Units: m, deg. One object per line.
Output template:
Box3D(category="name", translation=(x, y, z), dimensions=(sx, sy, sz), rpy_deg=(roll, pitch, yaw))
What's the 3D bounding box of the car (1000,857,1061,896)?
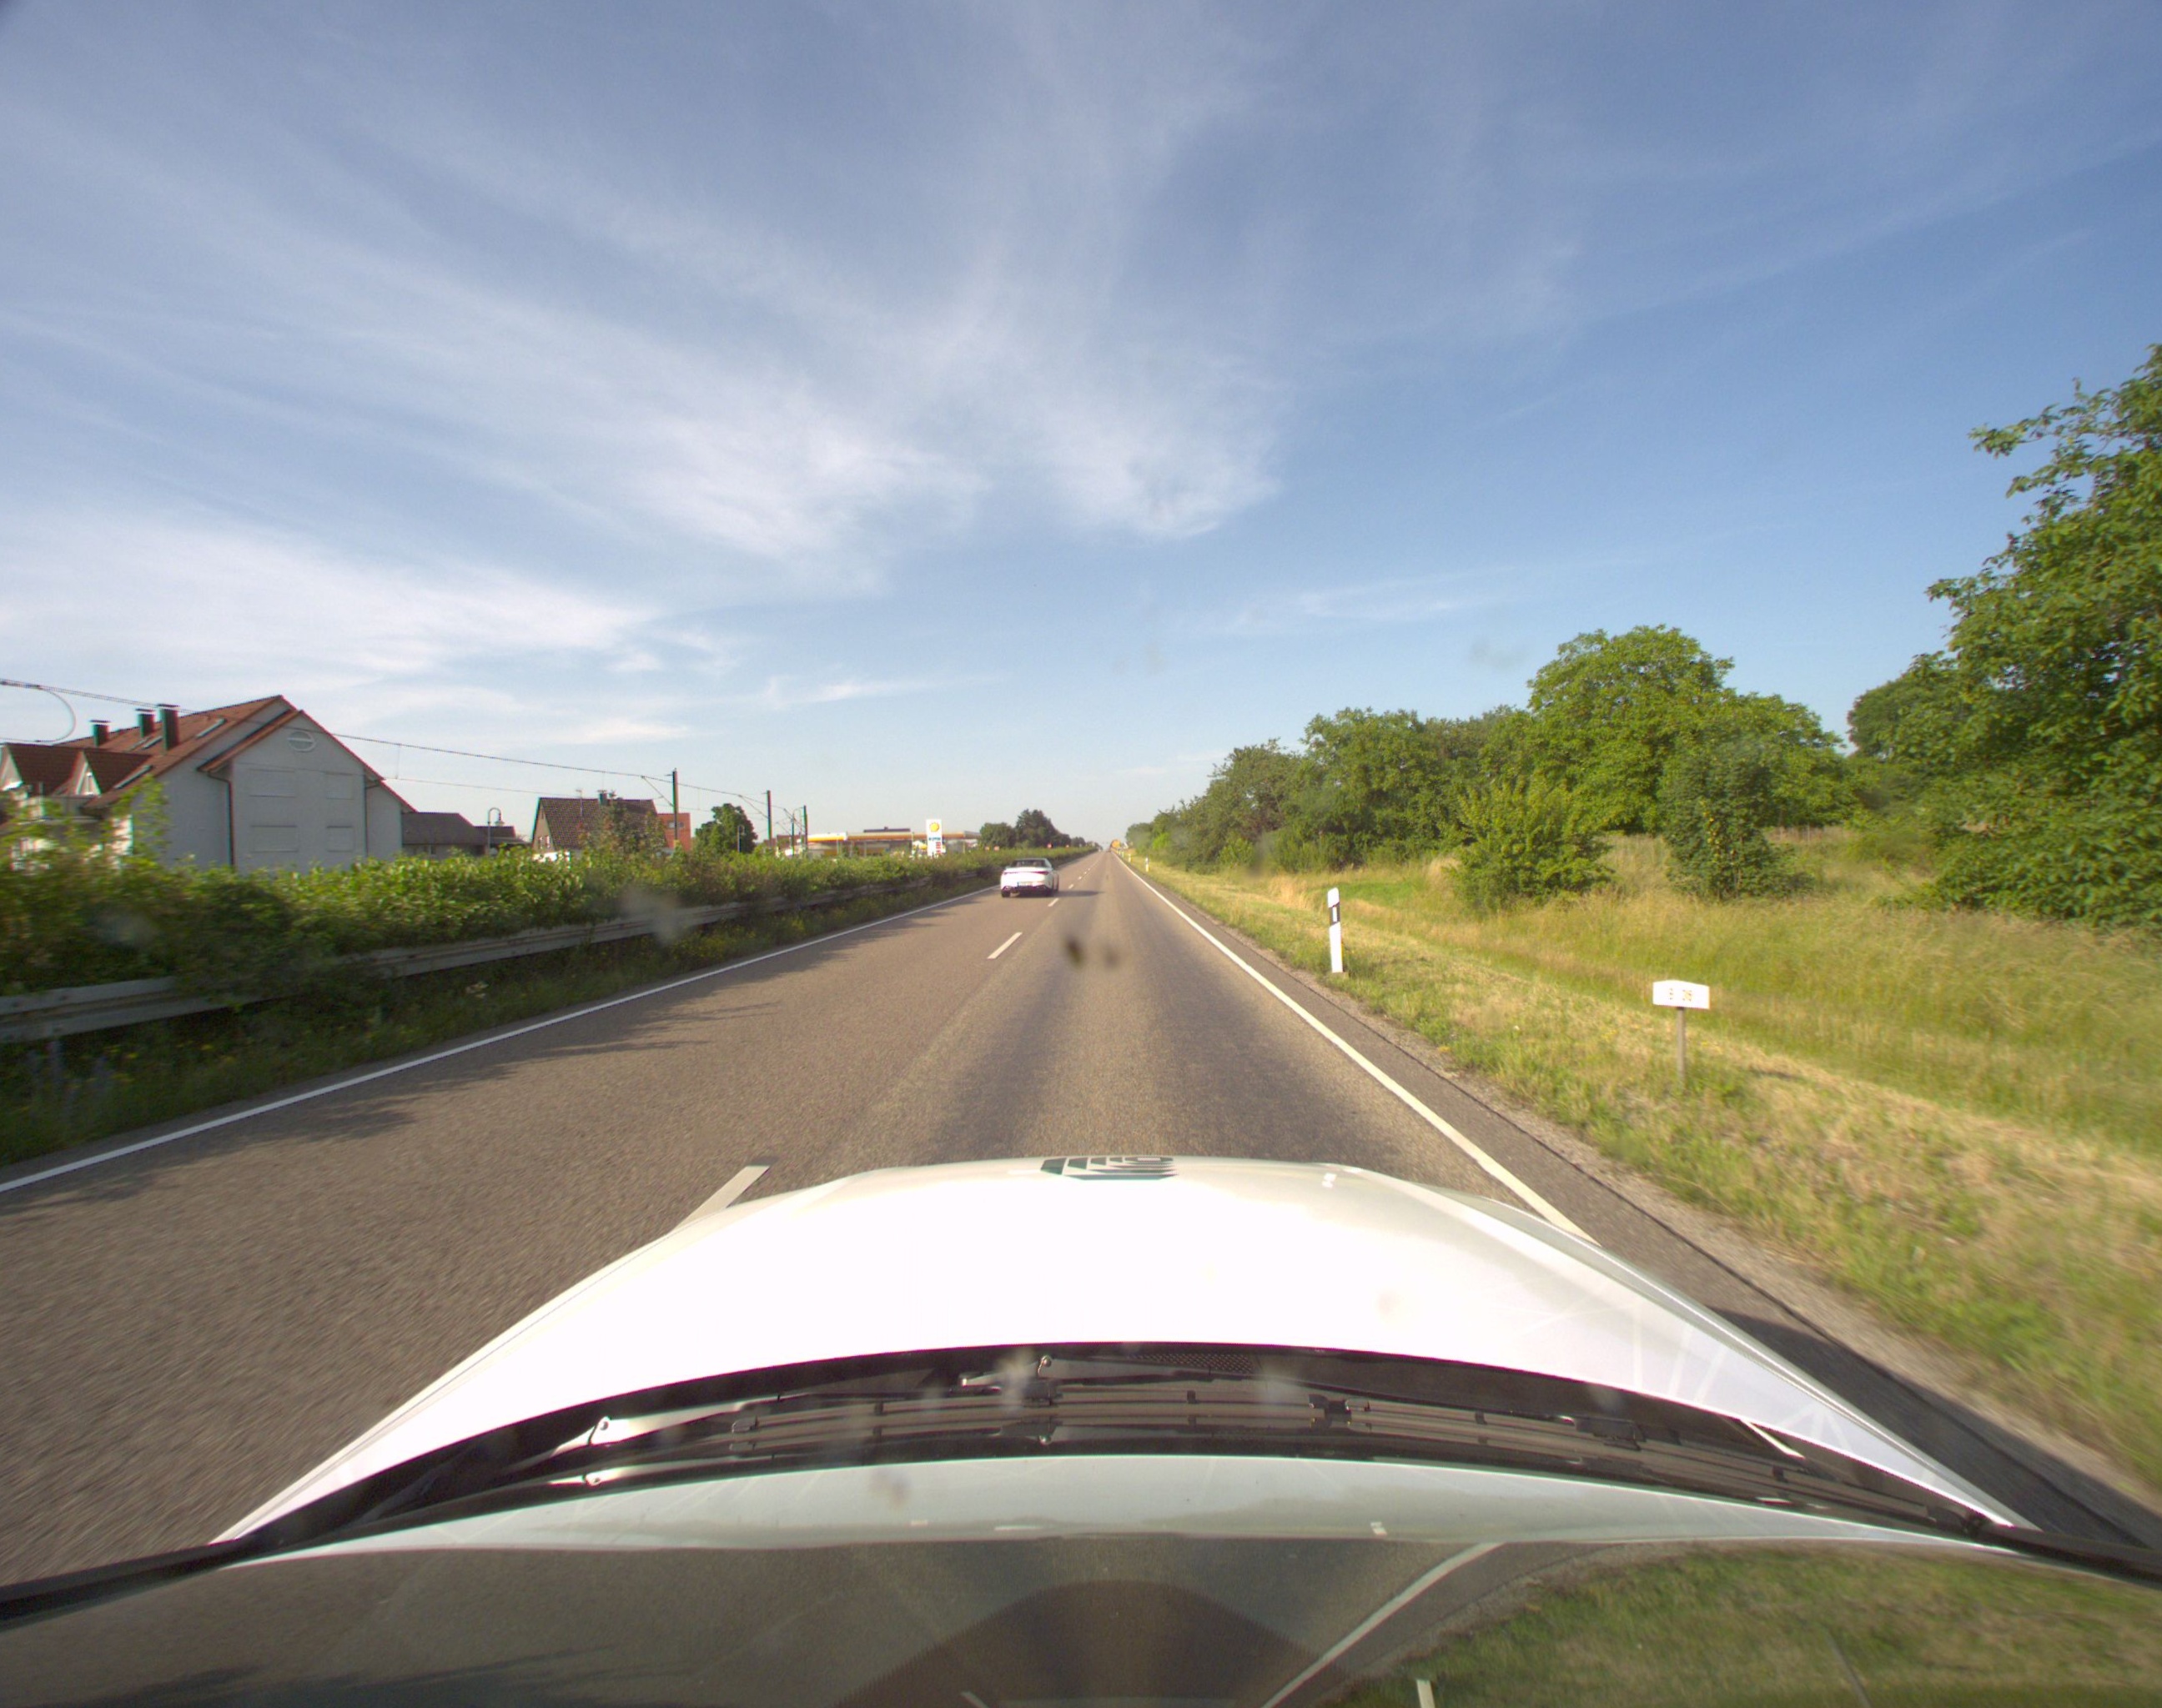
Box3D(category="car", translation=(-1.788, 0.778, 30.432), dimensions=(1.764, 1.337, 4.953), rpy_deg=(0, 0, 2))
